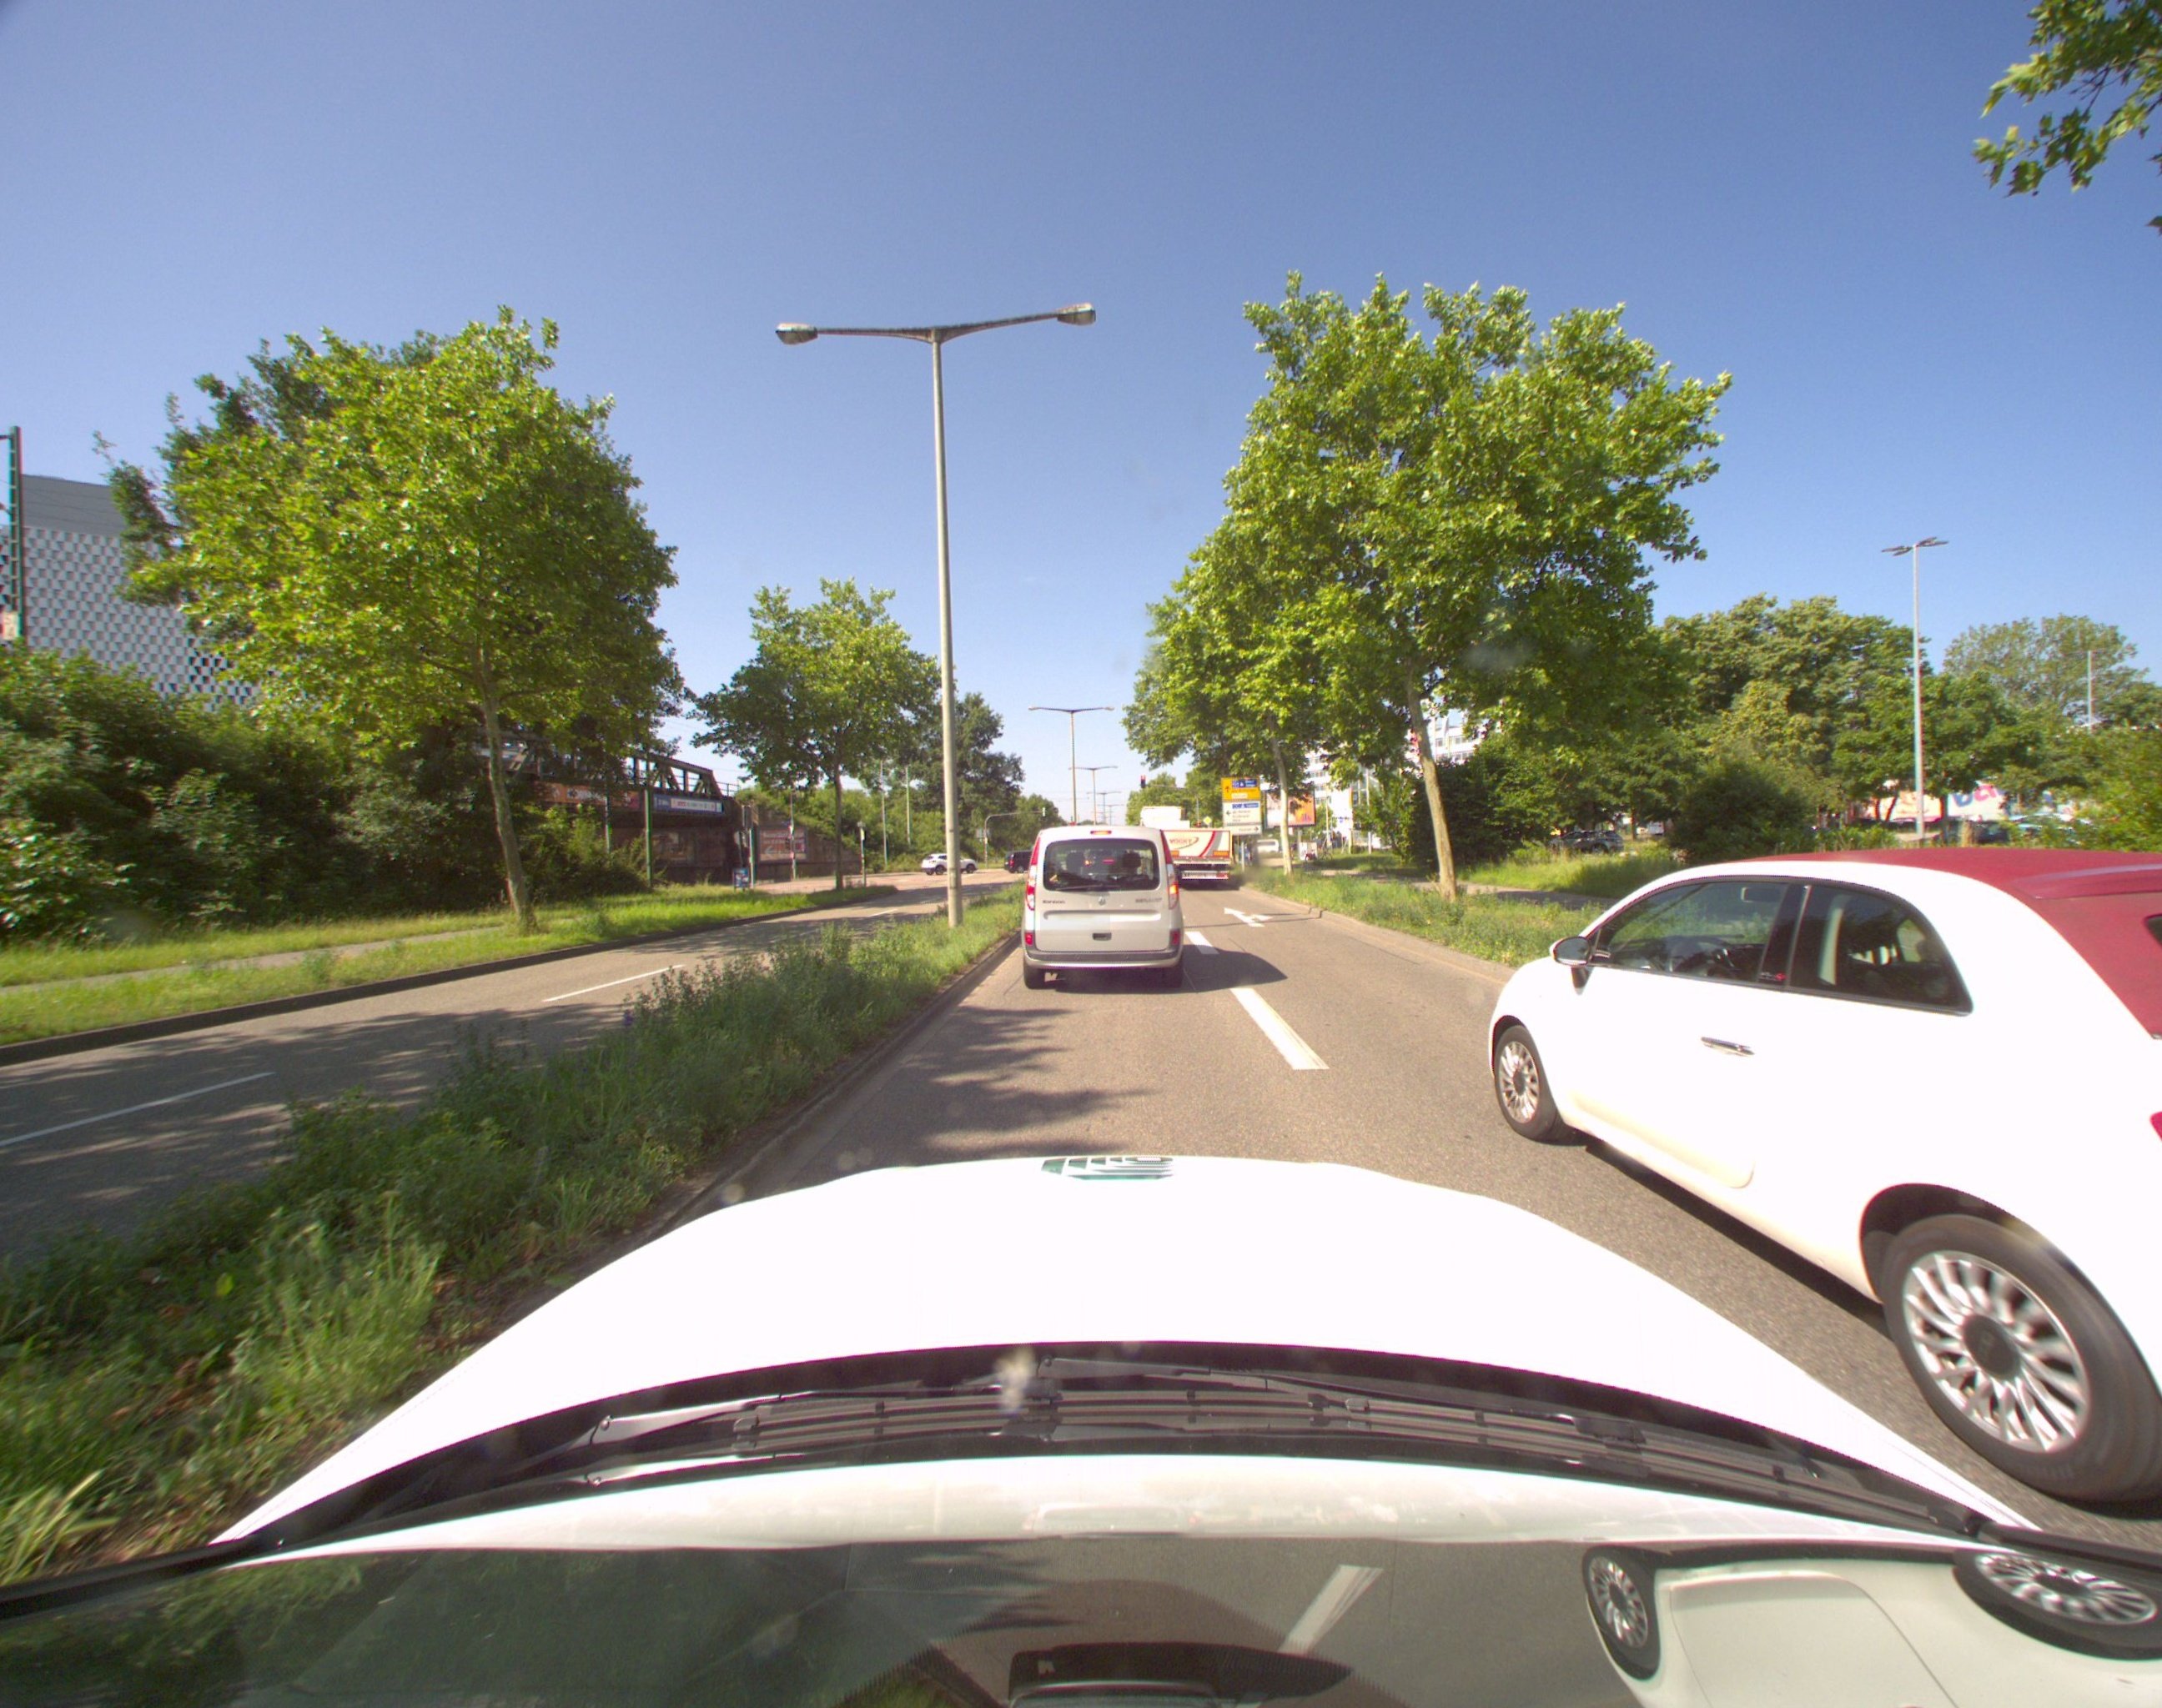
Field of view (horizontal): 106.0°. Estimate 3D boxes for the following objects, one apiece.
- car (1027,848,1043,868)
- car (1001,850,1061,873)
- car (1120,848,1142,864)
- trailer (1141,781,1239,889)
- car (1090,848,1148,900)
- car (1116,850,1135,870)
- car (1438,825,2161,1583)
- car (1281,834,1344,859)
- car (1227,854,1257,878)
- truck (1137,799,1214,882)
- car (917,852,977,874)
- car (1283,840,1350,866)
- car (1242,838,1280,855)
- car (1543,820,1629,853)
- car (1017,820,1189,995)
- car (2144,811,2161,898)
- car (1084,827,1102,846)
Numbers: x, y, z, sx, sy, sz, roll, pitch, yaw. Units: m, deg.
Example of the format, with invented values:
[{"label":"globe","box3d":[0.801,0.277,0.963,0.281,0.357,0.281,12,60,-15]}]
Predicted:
[{"label":"car","box3d":[-6.250,0.501,109.236,2.055,2.614,5.861,-1,0,-4]},{"label":"car","box3d":[-3.664,0.534,59.623,4.002,1.574,1.925,-1,0,-21]},{"label":"car","box3d":[5.581,0.224,91.137,1.989,1.640,3.995,-1,0,-3]},{"label":"trailer","box3d":[4.274,-0.657,34.705,3.004,3.740,12.246,-1,0,2]},{"label":"car","box3d":[1.276,0.647,28.665,1.804,1.684,3.999,-1,0,0]},{"label":"car","box3d":[4.660,0.619,85.944,1.986,2.013,4.002,-1,0,2]},{"label":"car","box3d":[2.955,0.656,3.274,1.654,1.436,3.523,-1,0,3]},{"label":"car","box3d":[15.975,-0.483,56.410,3.965,1.662,1.726,-1,0,7]},{"label":"car","box3d":[12.445,0.939,63.077,1.808,1.795,3.446,-1,0,3]},{"label":"truck","box3d":[4.555,-0.616,40.734,3.061,3.758,7.477,-1,0,1]},{"label":"car","box3d":[-10.275,0.662,62.576,4.134,1.627,1.978,-1,0,-37]},{"label":"car","box3d":[15.261,-0.066,52.911,3.965,1.662,1.726,-1,0,7]},{"label":"car","box3d":[22.259,-0.897,100.674,4.495,2.013,2.006,-1,0,10]},{"label":"car","box3d":[27.718,-0.913,44.736,1.778,1.716,3.703,0,0,-45]},{"label":"car","box3d":[0.283,0.551,10.331,1.743,1.772,3.950,-1,0,1]},{"label":"car","box3d":[22.872,-0.014,15.348,3.537,1.696,1.718,-1,0,-2]},{"label":"car","box3d":[1.353,-1.947,90.469,1.710,2.013,3.995,-1,0,-3]}]
